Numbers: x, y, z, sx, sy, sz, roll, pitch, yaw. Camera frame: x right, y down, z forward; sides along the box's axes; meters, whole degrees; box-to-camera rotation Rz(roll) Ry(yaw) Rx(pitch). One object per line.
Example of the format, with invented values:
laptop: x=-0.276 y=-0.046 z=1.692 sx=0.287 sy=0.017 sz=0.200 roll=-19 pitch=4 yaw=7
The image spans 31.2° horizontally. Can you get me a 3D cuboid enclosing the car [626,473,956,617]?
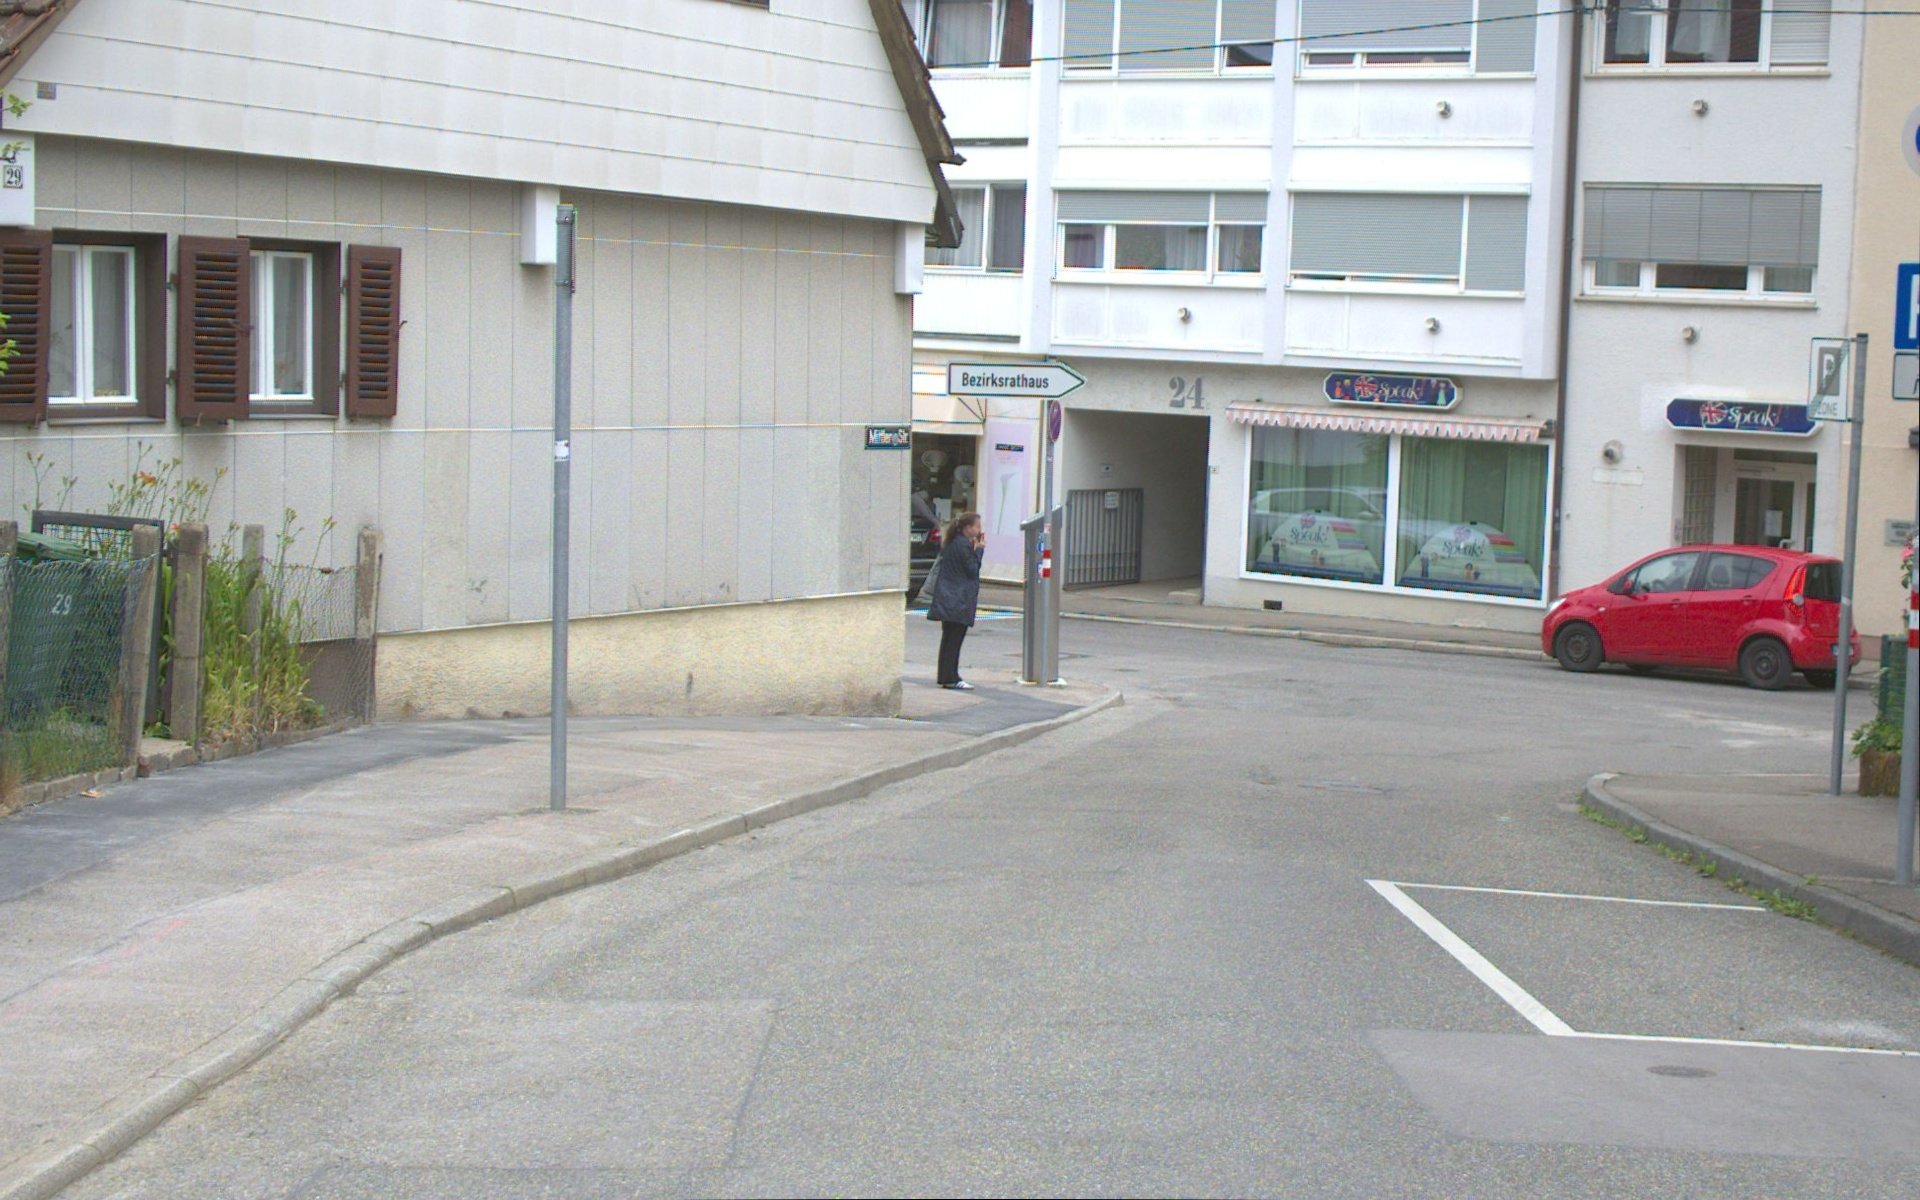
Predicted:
car: x=-2.377 y=-0.795 z=47.774 sx=4.365 sy=1.773 sz=1.943 roll=4 pitch=3 yaw=39

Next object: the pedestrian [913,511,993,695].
pedestrian: x=-0.071 y=0.022 z=32.437 sx=0.646 sy=1.679 sz=0.604 roll=3 pitch=2 yaw=-3

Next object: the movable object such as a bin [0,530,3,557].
movable object such as a bin: x=-5.066 y=0.076 z=16.684 sx=0.527 sy=0.914 sz=0.489 roll=7 pitch=1 yaw=29

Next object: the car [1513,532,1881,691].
car: x=8.416 y=0.101 z=39.424 sx=3.692 sy=1.551 sz=1.693 roll=5 pitch=3 yaw=41

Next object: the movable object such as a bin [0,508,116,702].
movable object such as a bin: x=-4.498 y=0.020 z=16.618 sx=0.527 sy=0.881 sz=0.489 roll=7 pitch=1 yaw=29
